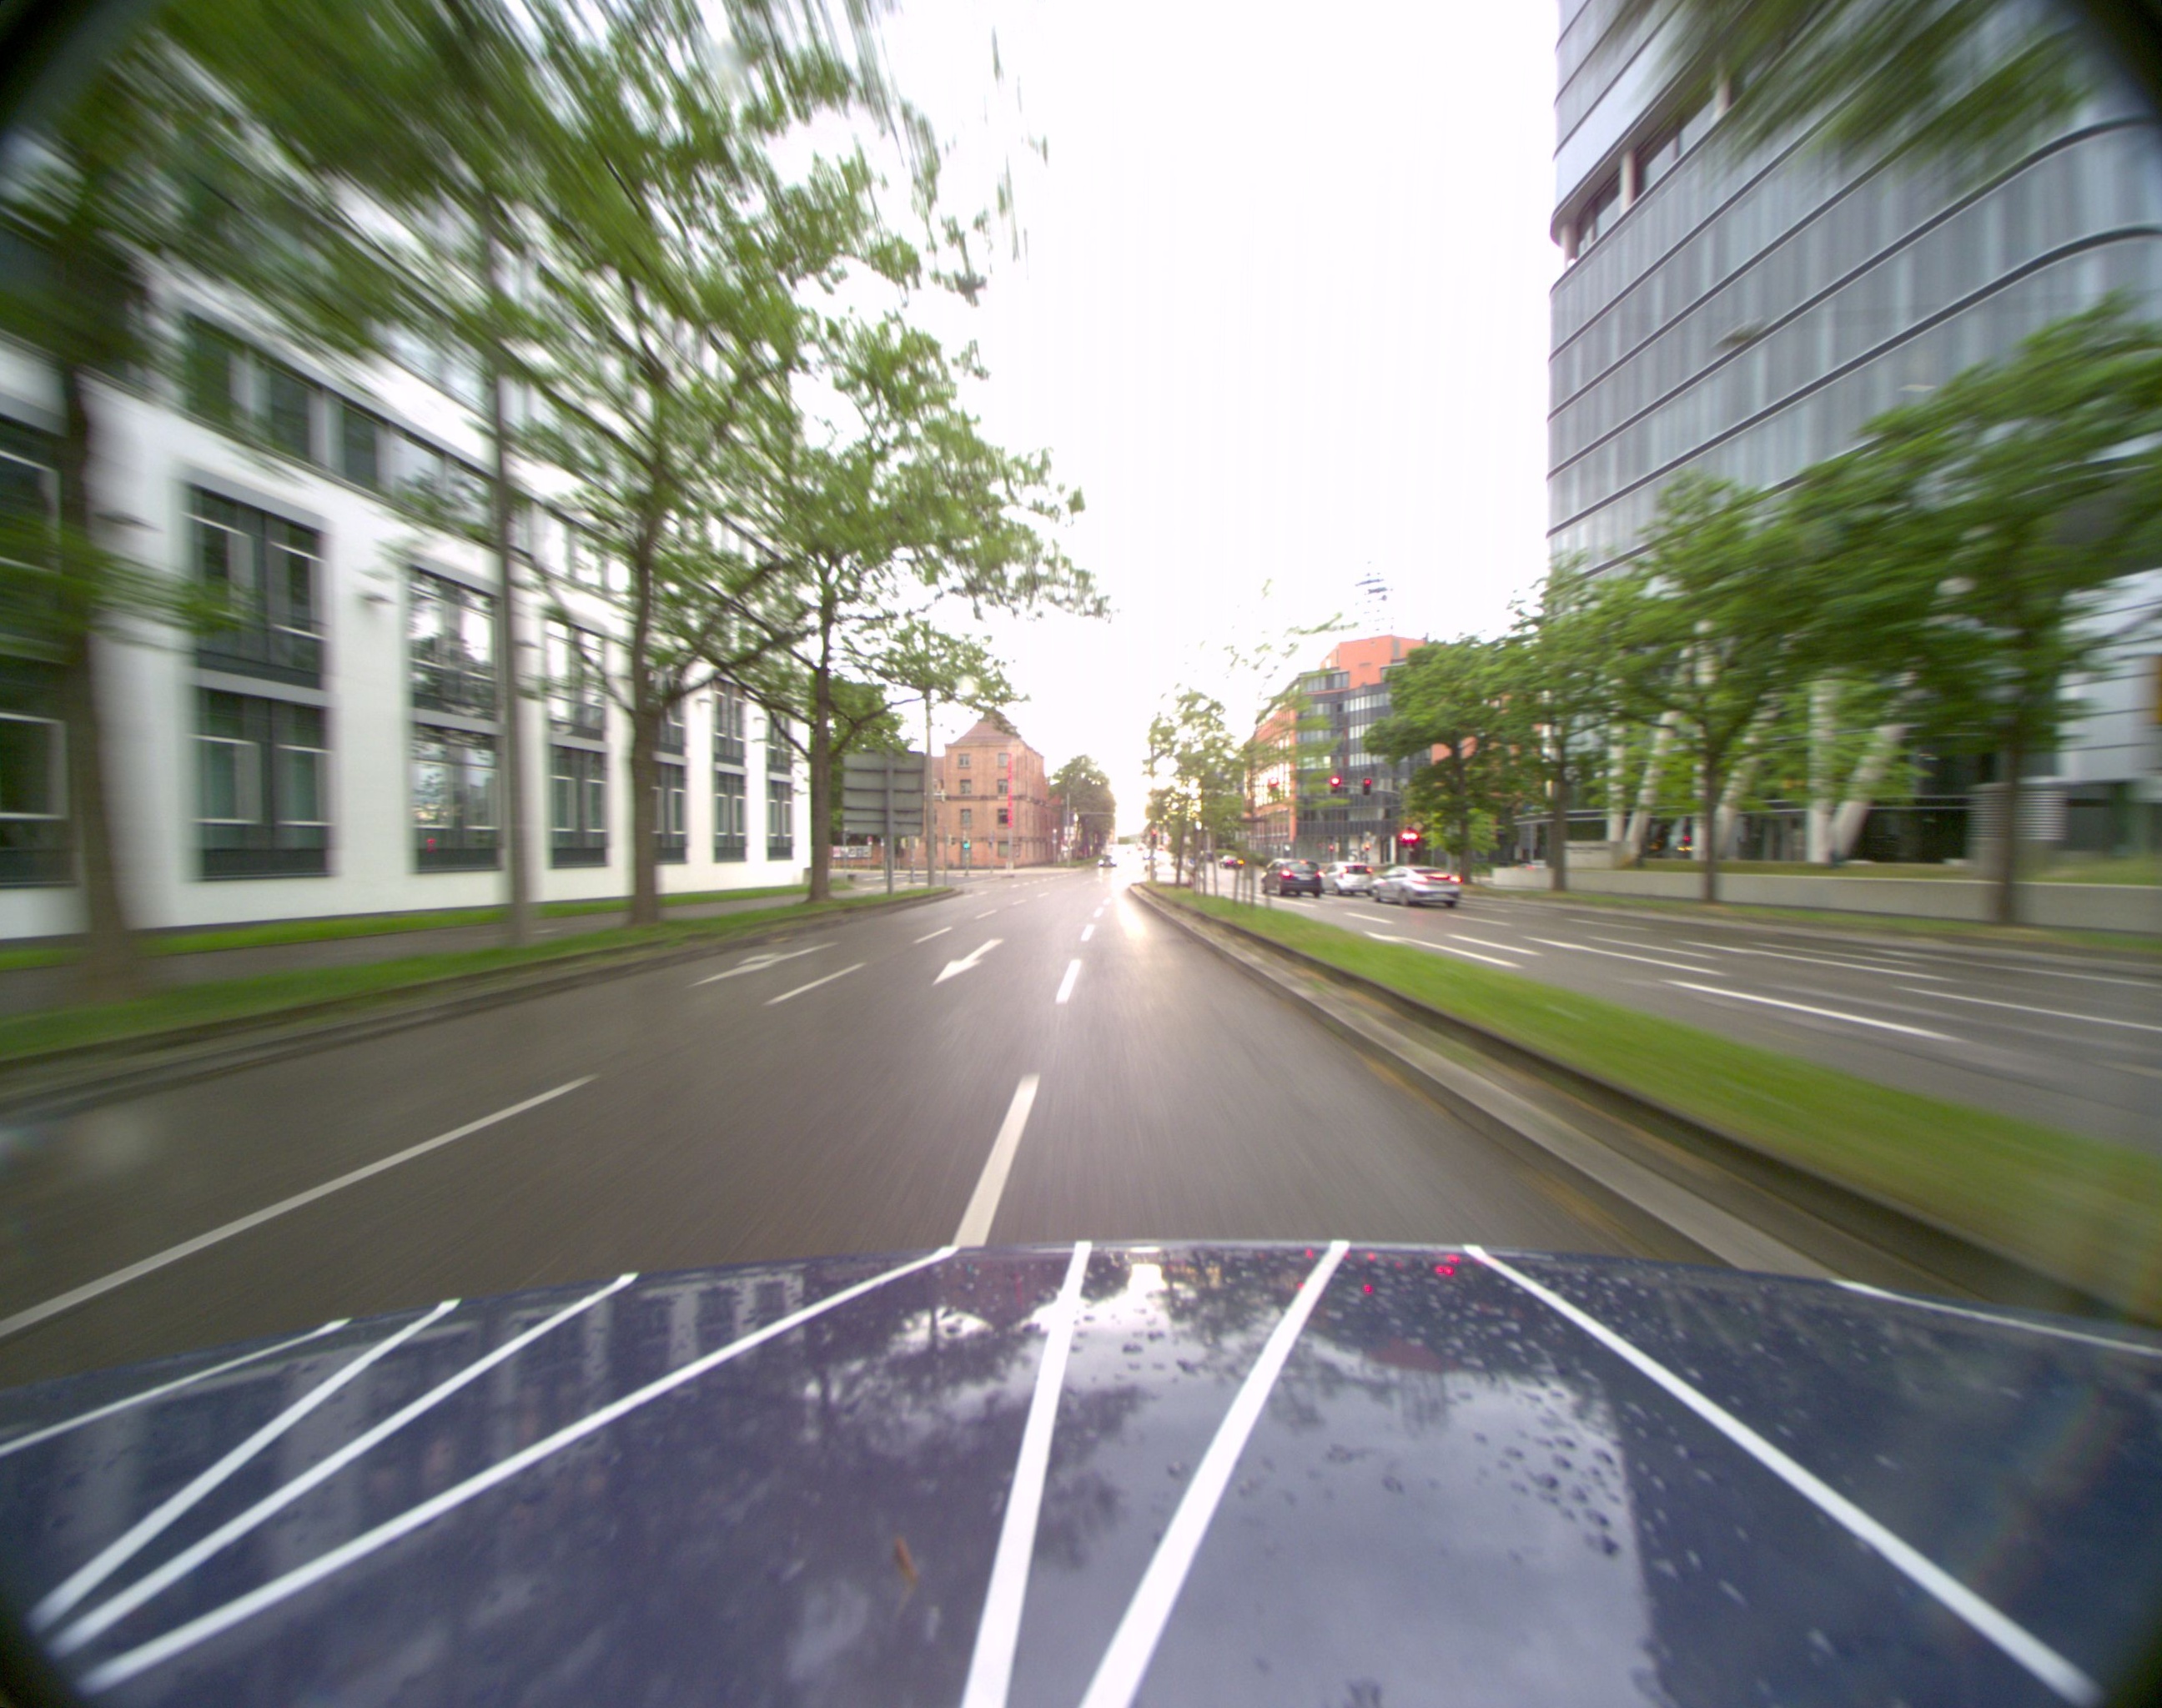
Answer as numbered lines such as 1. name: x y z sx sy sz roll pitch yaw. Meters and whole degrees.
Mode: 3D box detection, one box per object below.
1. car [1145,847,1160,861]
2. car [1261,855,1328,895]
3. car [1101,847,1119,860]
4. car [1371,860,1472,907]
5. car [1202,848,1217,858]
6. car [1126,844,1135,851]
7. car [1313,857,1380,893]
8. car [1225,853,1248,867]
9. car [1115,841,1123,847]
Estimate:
1. car: 11.123 0.001 118.692 1.998 2.002 4.000 0 0 1
2. car: 9.417 0.887 33.873 1.846 1.581 4.173 1 1 1
3. car: 3.252 -0.085 85.358 1.877 1.346 4.332 -2 1 3
4. car: 12.262 1.022 27.676 1.894 1.445 3.999 -2 1 1
5. car: 18.976 -0.156 112.442 1.782 1.445 4.001 -2 1 5
6. car: 11.388 -1.532 175.157 1.998 1.674 4.000 0 0 1
7. car: 12.428 0.950 35.863 1.783 1.445 3.999 -2 1 1
8. car: 17.295 0.638 84.816 1.783 1.445 3.999 -2 1 1
9. car: 10.400 -2.825 207.537 1.998 1.576 4.000 2 2 4
